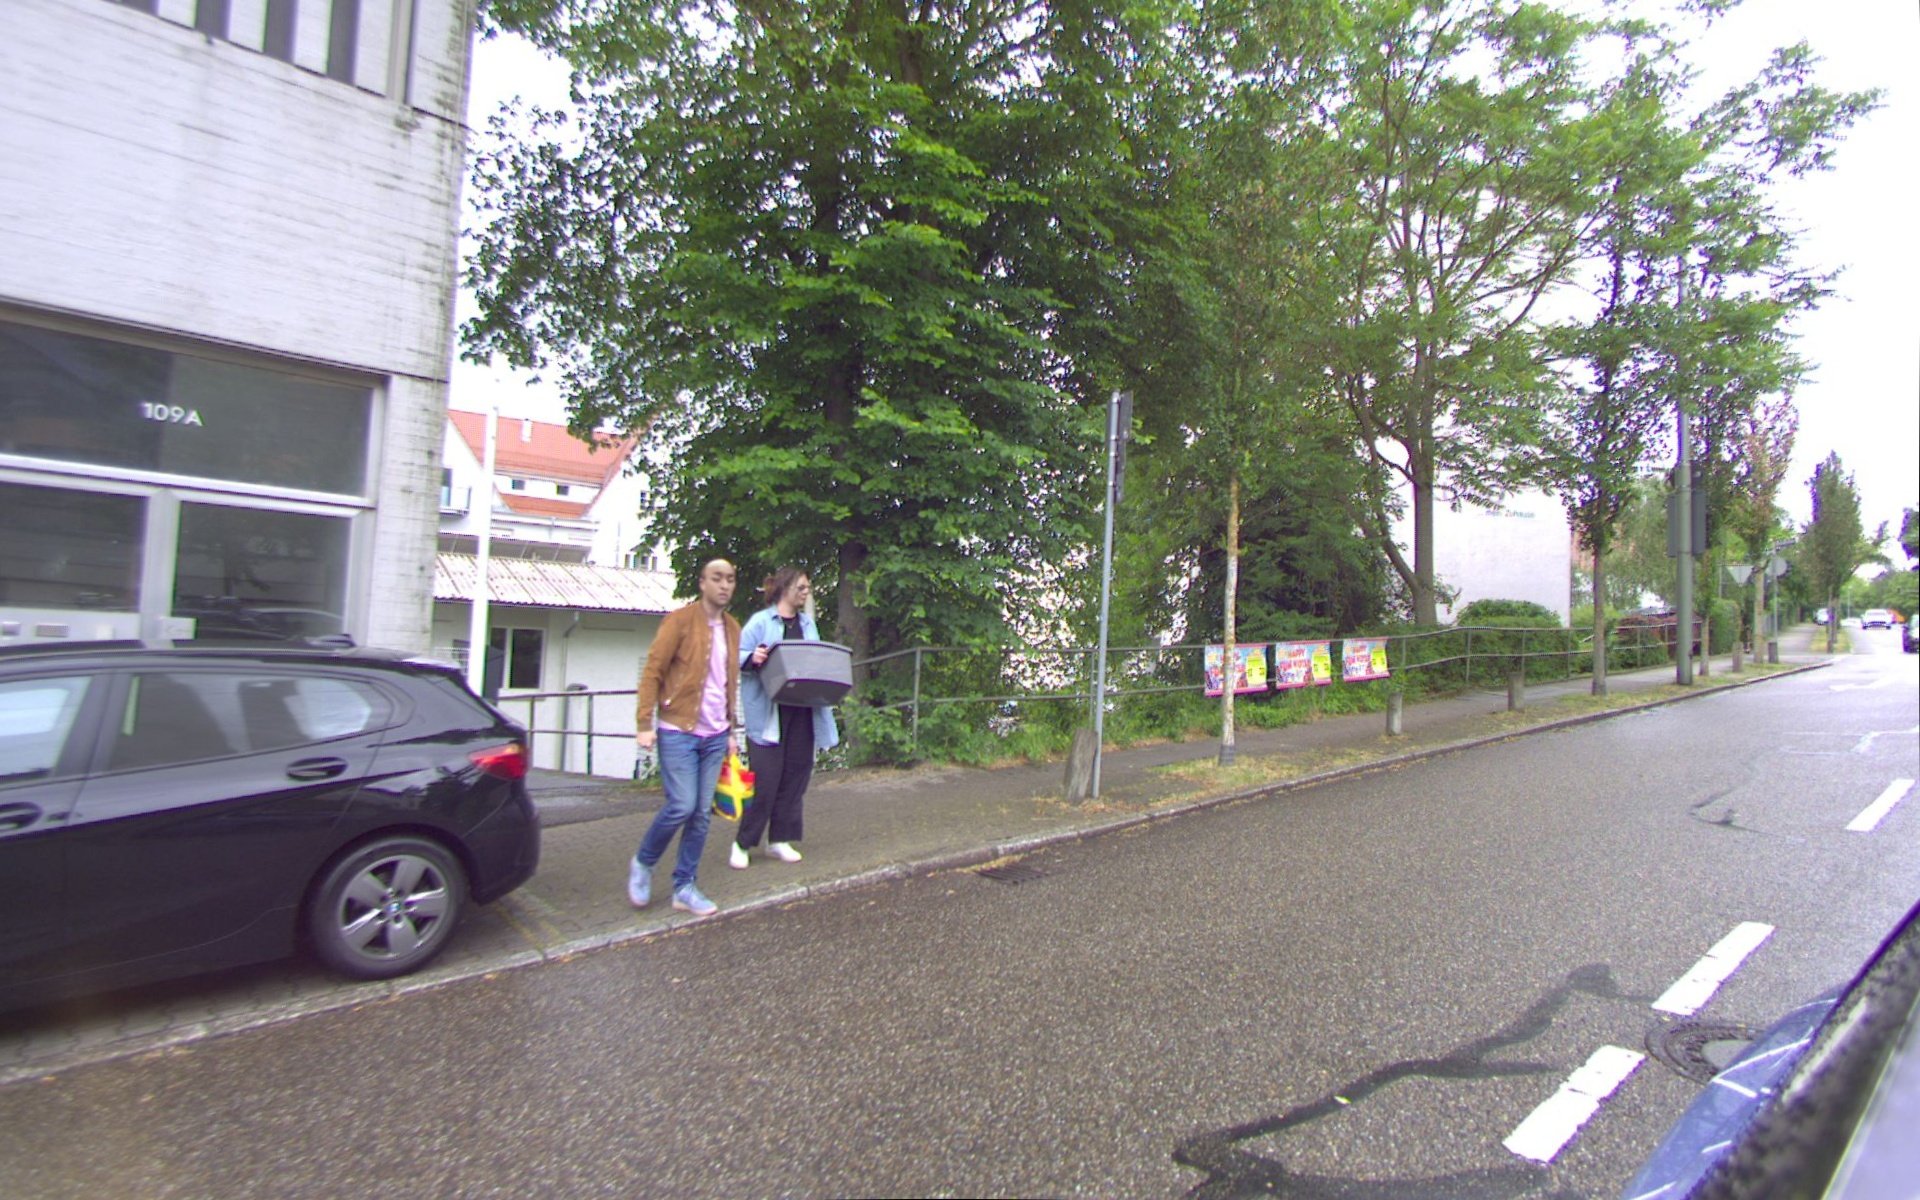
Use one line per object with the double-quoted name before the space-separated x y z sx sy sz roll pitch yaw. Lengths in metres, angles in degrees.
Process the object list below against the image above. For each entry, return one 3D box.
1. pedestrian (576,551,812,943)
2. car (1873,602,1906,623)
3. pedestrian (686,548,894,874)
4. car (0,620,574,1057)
"pedestrian" -1.422 0.681 5.349 0.810 1.805 1.071 0 -1 -40
"car" 78.664 1.034 85.625 4.280 1.638 1.831 -1 0 -44
"pedestrian" -1.073 0.621 6.288 0.810 1.805 1.071 0 -2 -41
"car" -4.121 0.853 4.109 4.368 1.453 1.996 0 0 -43
